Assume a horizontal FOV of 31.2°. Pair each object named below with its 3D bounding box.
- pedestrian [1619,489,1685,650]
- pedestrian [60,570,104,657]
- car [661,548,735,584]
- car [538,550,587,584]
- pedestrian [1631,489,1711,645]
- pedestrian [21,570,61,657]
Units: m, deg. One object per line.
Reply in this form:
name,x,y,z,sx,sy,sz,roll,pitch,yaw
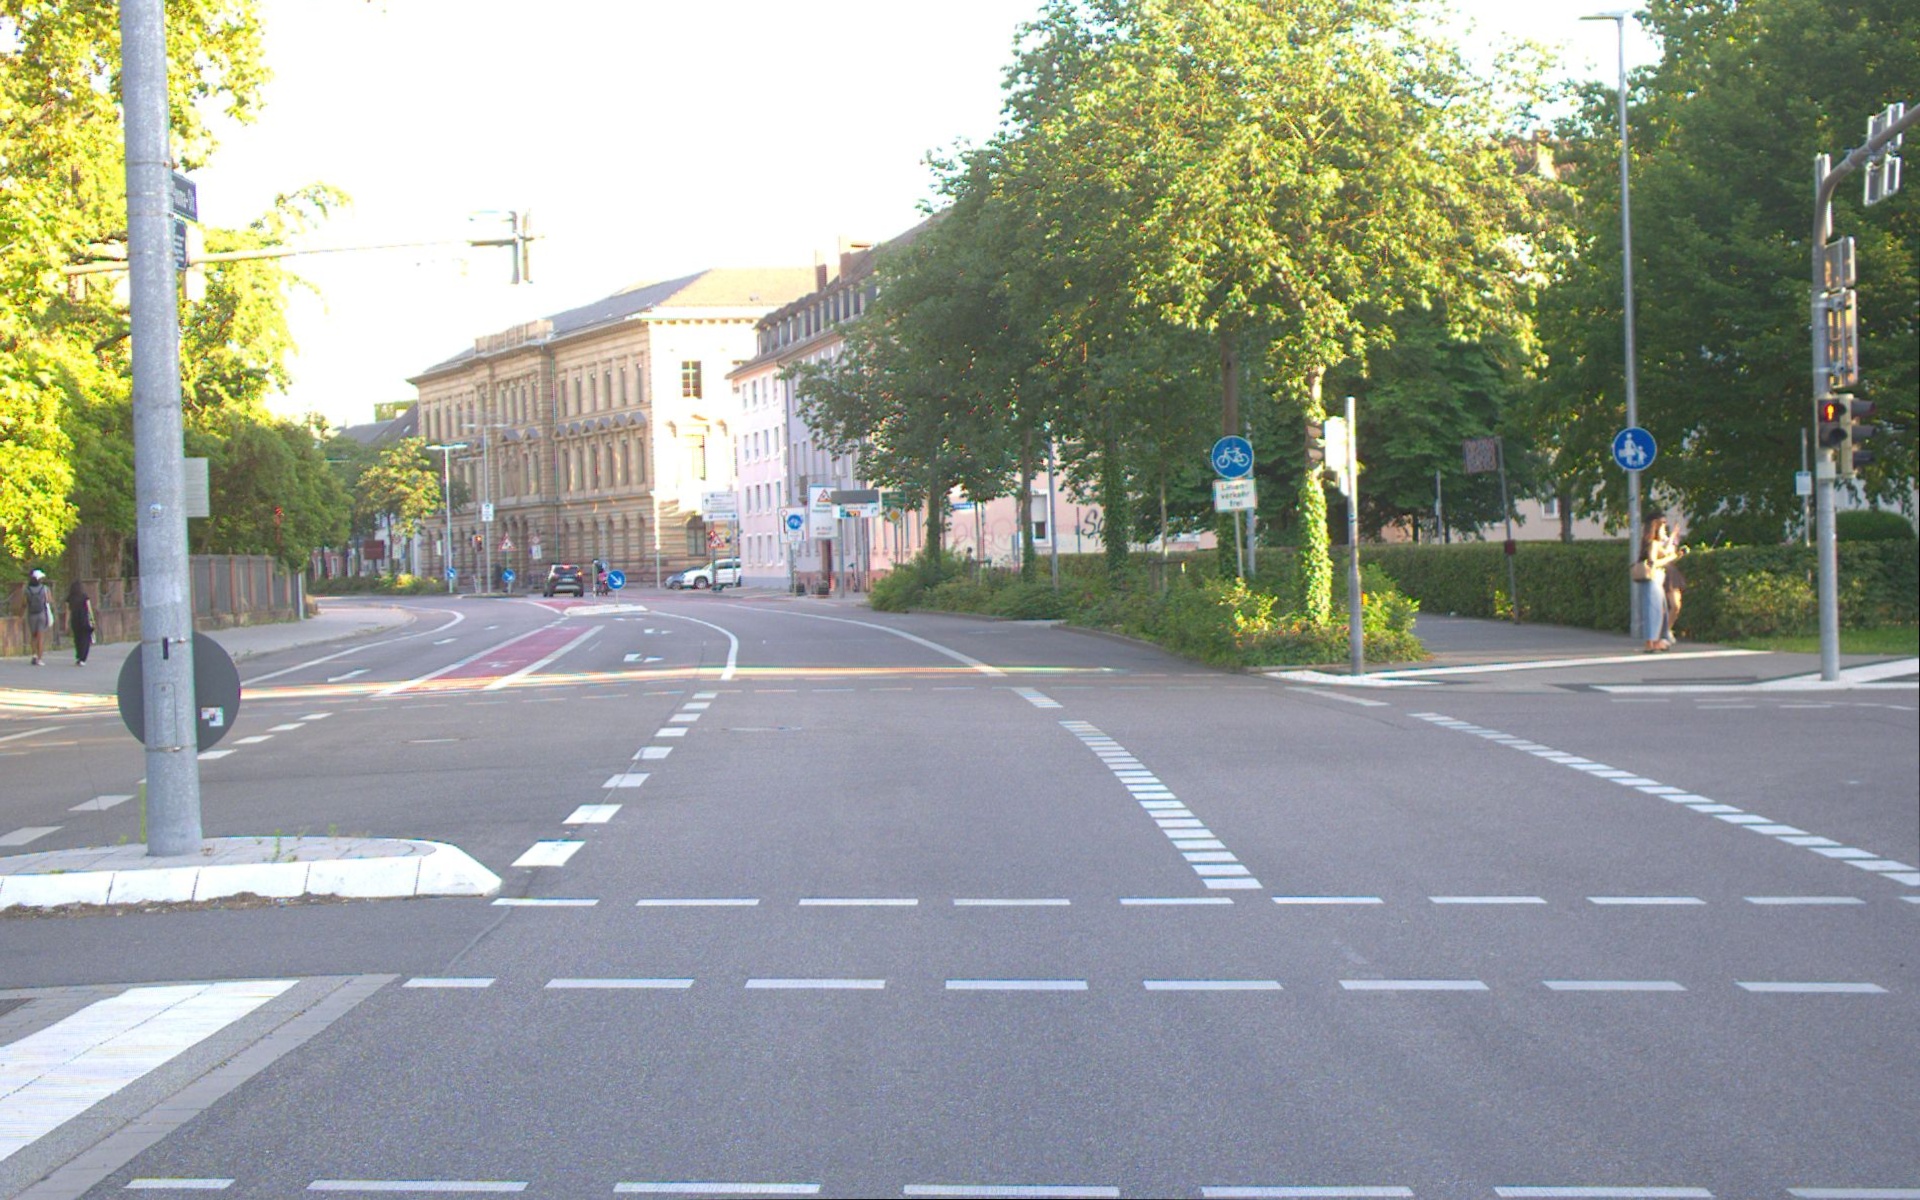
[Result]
pedestrian,8.720,-0.383,43.317,0.635,2.007,0.720,-1,1,-4
pedestrian,-16.169,0.247,63.311,0.599,1.568,0.646,-2,1,-1
car,-15.029,-1.946,197.564,3.987,2.007,2.000,0,1,4
car,-19.645,-1.643,169.730,1.819,1.583,4.001,-3,1,-14
pedestrian,9.243,-0.430,44.694,0.870,2.007,0.722,0,1,-1
pedestrian,-16.925,0.245,63.348,0.535,1.591,0.590,-2,1,-1
